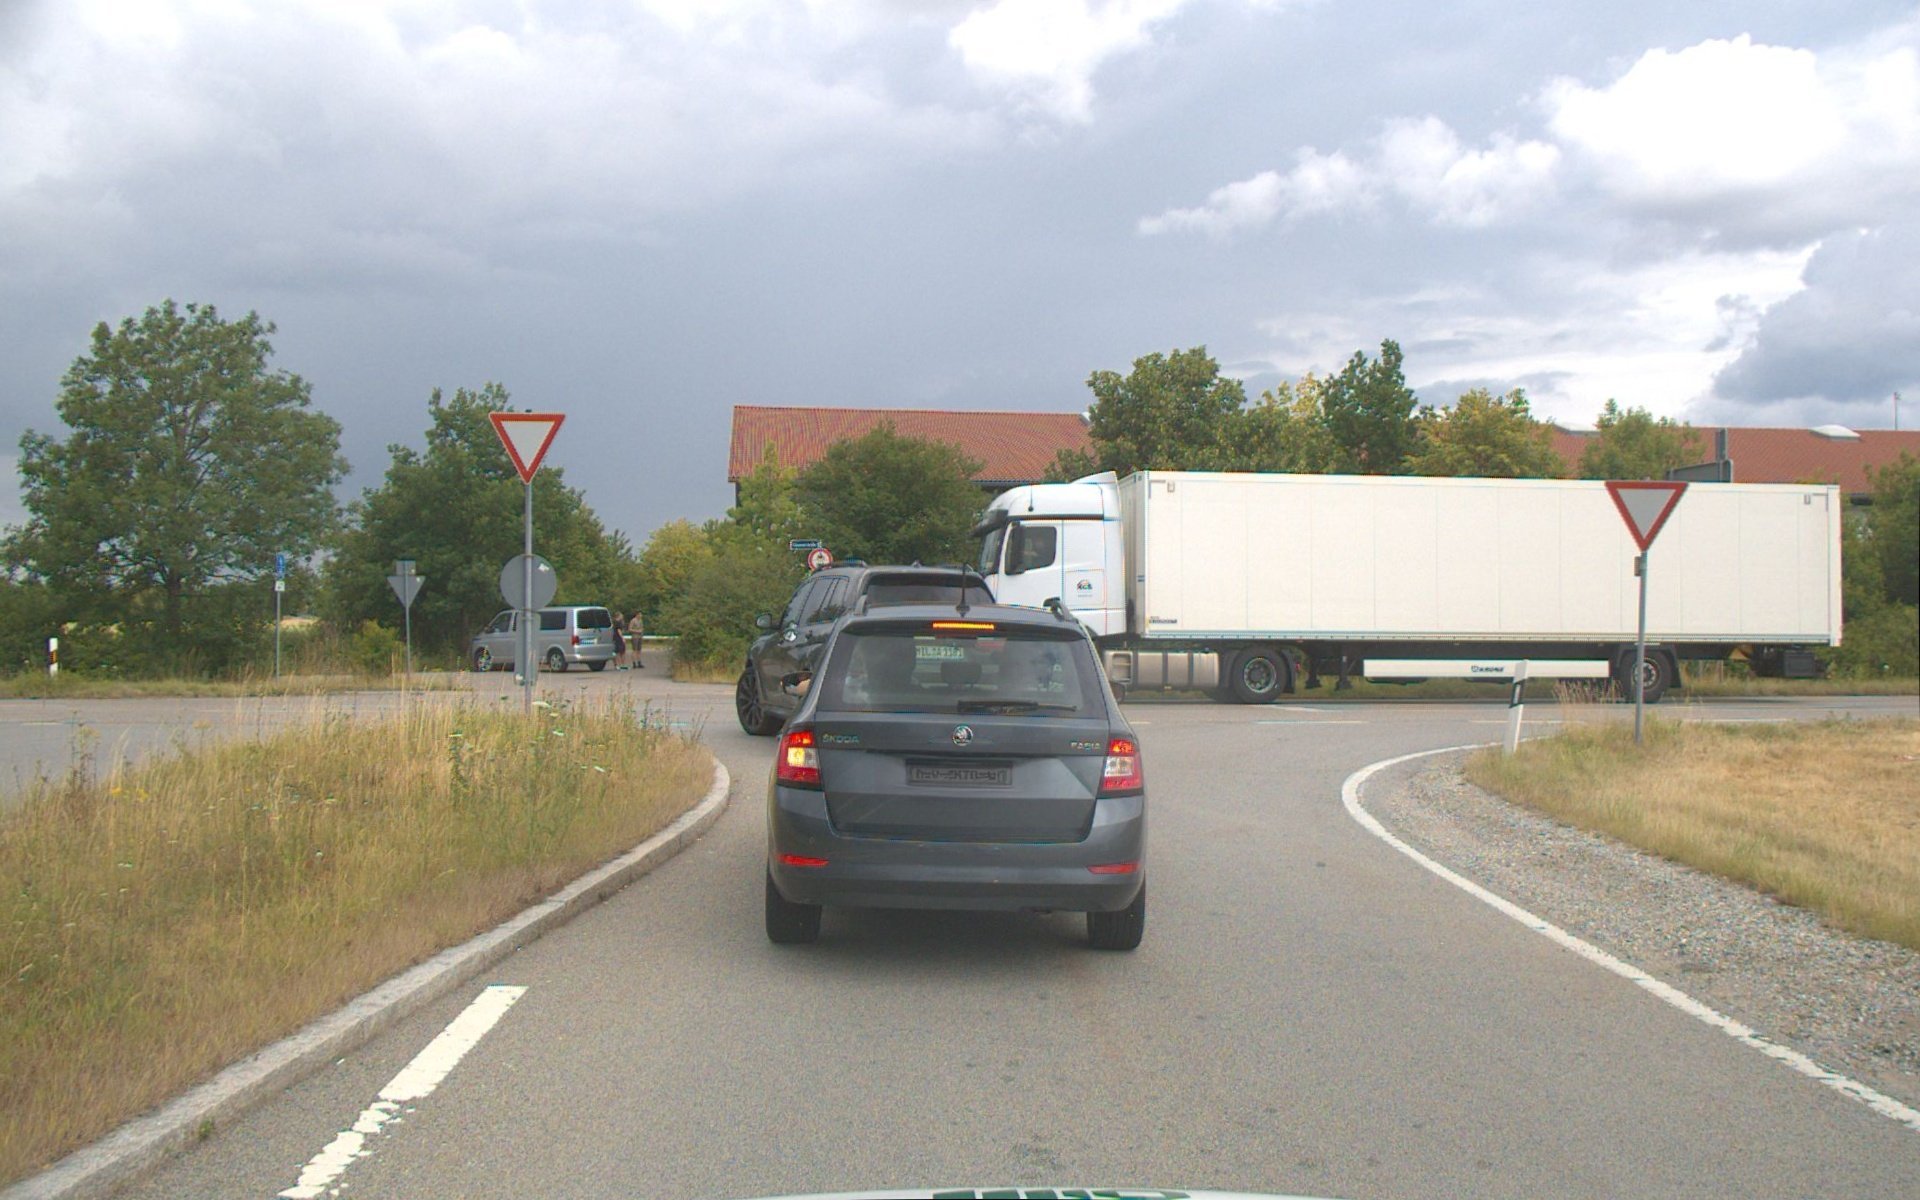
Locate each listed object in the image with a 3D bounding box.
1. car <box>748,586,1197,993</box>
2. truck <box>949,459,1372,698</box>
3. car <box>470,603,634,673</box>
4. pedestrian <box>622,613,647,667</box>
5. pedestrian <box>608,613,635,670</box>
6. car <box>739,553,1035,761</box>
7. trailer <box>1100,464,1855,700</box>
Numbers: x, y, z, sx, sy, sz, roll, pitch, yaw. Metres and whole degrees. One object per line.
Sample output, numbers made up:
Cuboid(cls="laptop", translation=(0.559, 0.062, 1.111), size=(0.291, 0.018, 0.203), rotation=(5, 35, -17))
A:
Cuboid(cls="car", translation=(-0.045, 0.695, 7.987), size=(1.643, 1.488, 3.705), rotation=(1, 0, -3))
Cuboid(cls="truck", translation=(3.534, -0.315, 30.319), size=(7.146, 4.085, 3.123), rotation=(0, -2, -8))
Cuboid(cls="car", translation=(-12.842, 1.145, 51.979), size=(4.810, 2.049, 2.336), rotation=(0, 1, 32))
Cuboid(cls="pedestrian", translation=(-10.460, 1.271, 53.165), size=(0.553, 1.712, 0.585), rotation=(0, 0, 26))
Cuboid(cls="pedestrian", translation=(-10.563, 1.292, 51.683), size=(0.519, 1.756, 0.640), rotation=(0, 0, 31))
Cuboid(cls="car", translation=(-0.918, 0.535, 16.897), size=(1.962, 1.806, 4.622), rotation=(1, -1, -17))
Cuboid(cls="trailer", translation=(9.609, -0.258, 31.185), size=(13.581, 4.085, 3.123), rotation=(0, -2, -8))
